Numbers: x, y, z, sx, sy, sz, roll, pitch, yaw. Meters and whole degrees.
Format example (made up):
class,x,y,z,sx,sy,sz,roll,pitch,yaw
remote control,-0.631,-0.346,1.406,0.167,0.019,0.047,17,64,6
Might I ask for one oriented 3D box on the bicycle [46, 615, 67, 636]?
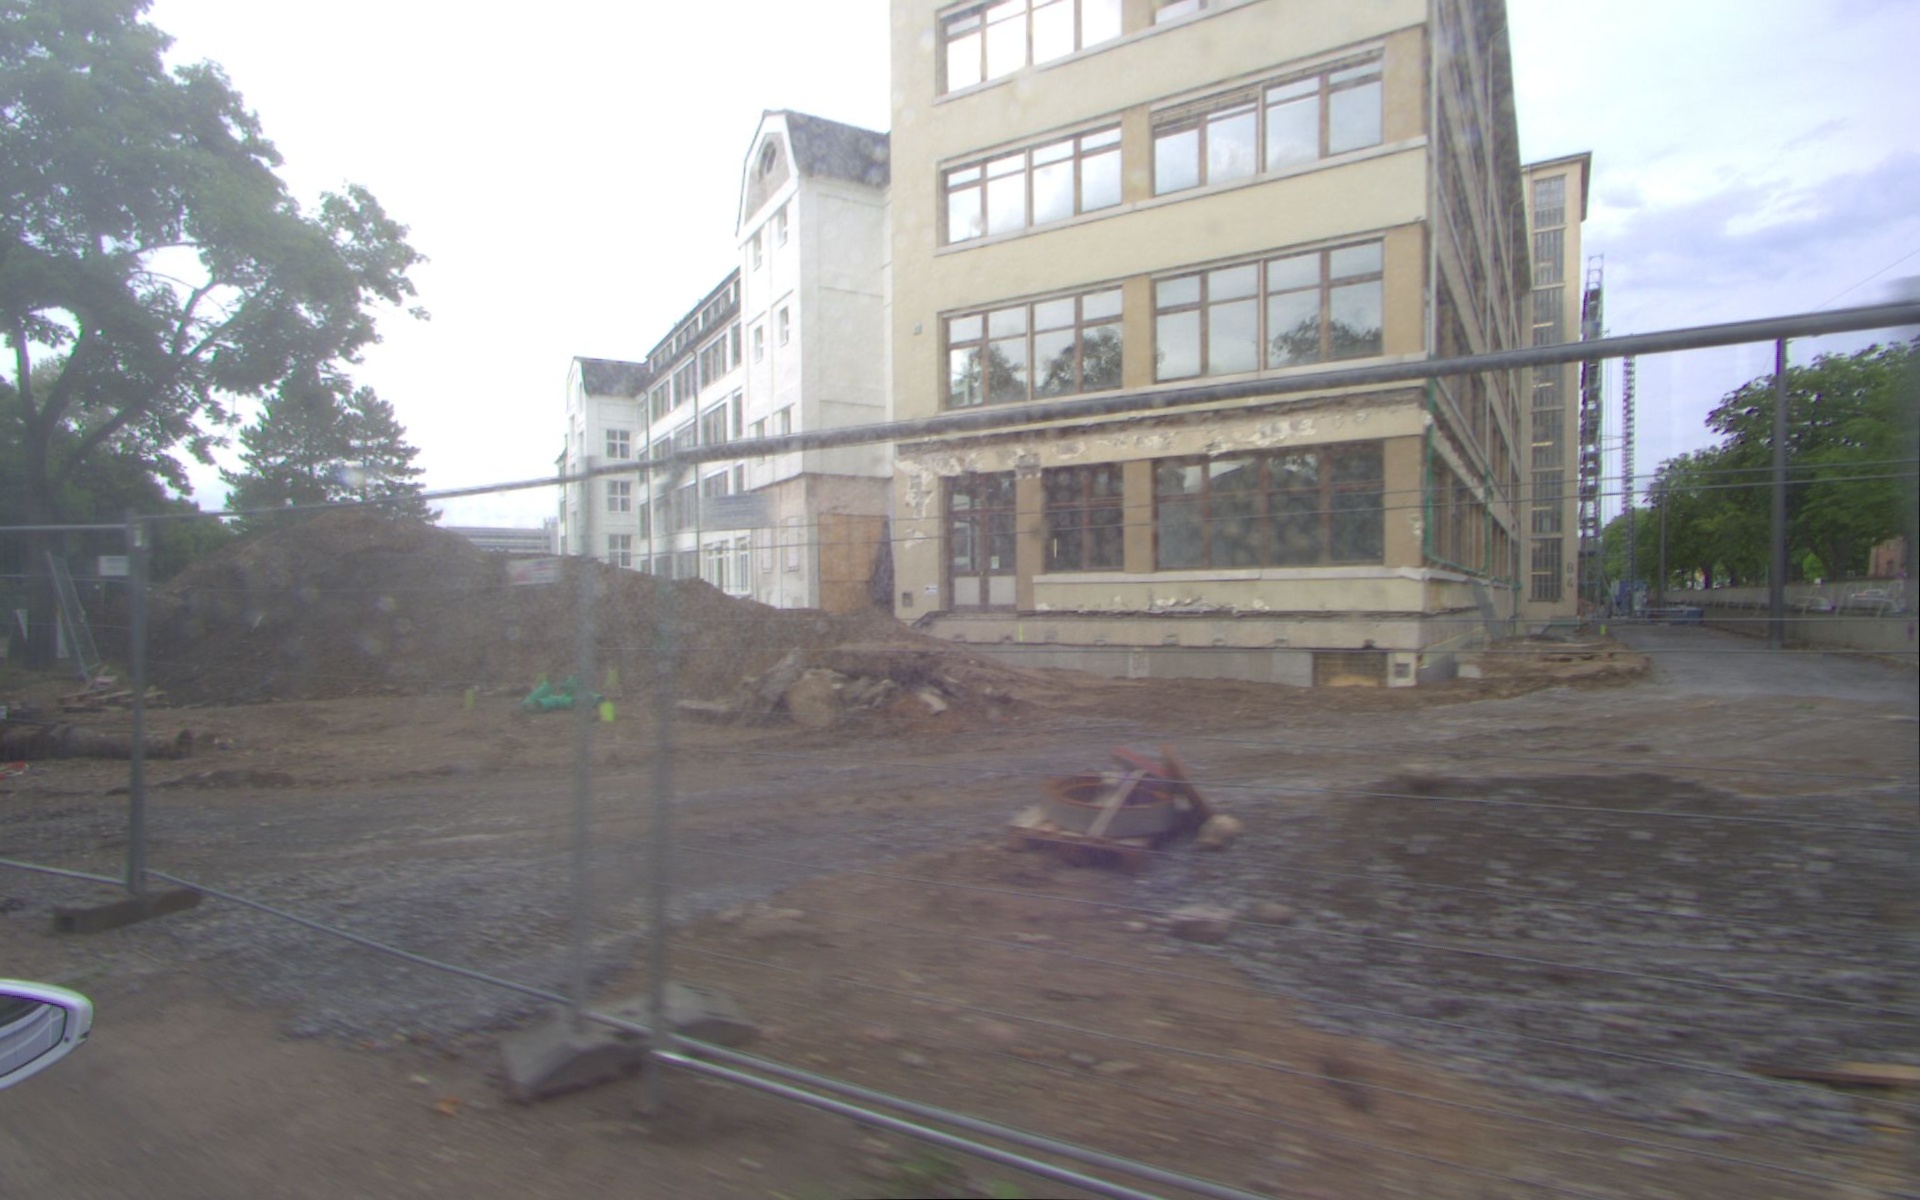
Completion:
class,x,y,z,sx,sy,sz,roll,pitch,yaw
bicycle,-45.477,1.274,50.402,0.765,0.991,2.012,0,0,-42

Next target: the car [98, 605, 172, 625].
class,x,y,z,sx,sy,sz,roll,pitch,yaw
car,-63.186,1.125,76.753,1.969,1.528,3.984,0,0,28

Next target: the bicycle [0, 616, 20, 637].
class,x,y,z,sx,sy,sz,roll,pitch,yaw
bicycle,-46.721,1.299,49.203,0.765,0.991,2.012,0,0,-42
